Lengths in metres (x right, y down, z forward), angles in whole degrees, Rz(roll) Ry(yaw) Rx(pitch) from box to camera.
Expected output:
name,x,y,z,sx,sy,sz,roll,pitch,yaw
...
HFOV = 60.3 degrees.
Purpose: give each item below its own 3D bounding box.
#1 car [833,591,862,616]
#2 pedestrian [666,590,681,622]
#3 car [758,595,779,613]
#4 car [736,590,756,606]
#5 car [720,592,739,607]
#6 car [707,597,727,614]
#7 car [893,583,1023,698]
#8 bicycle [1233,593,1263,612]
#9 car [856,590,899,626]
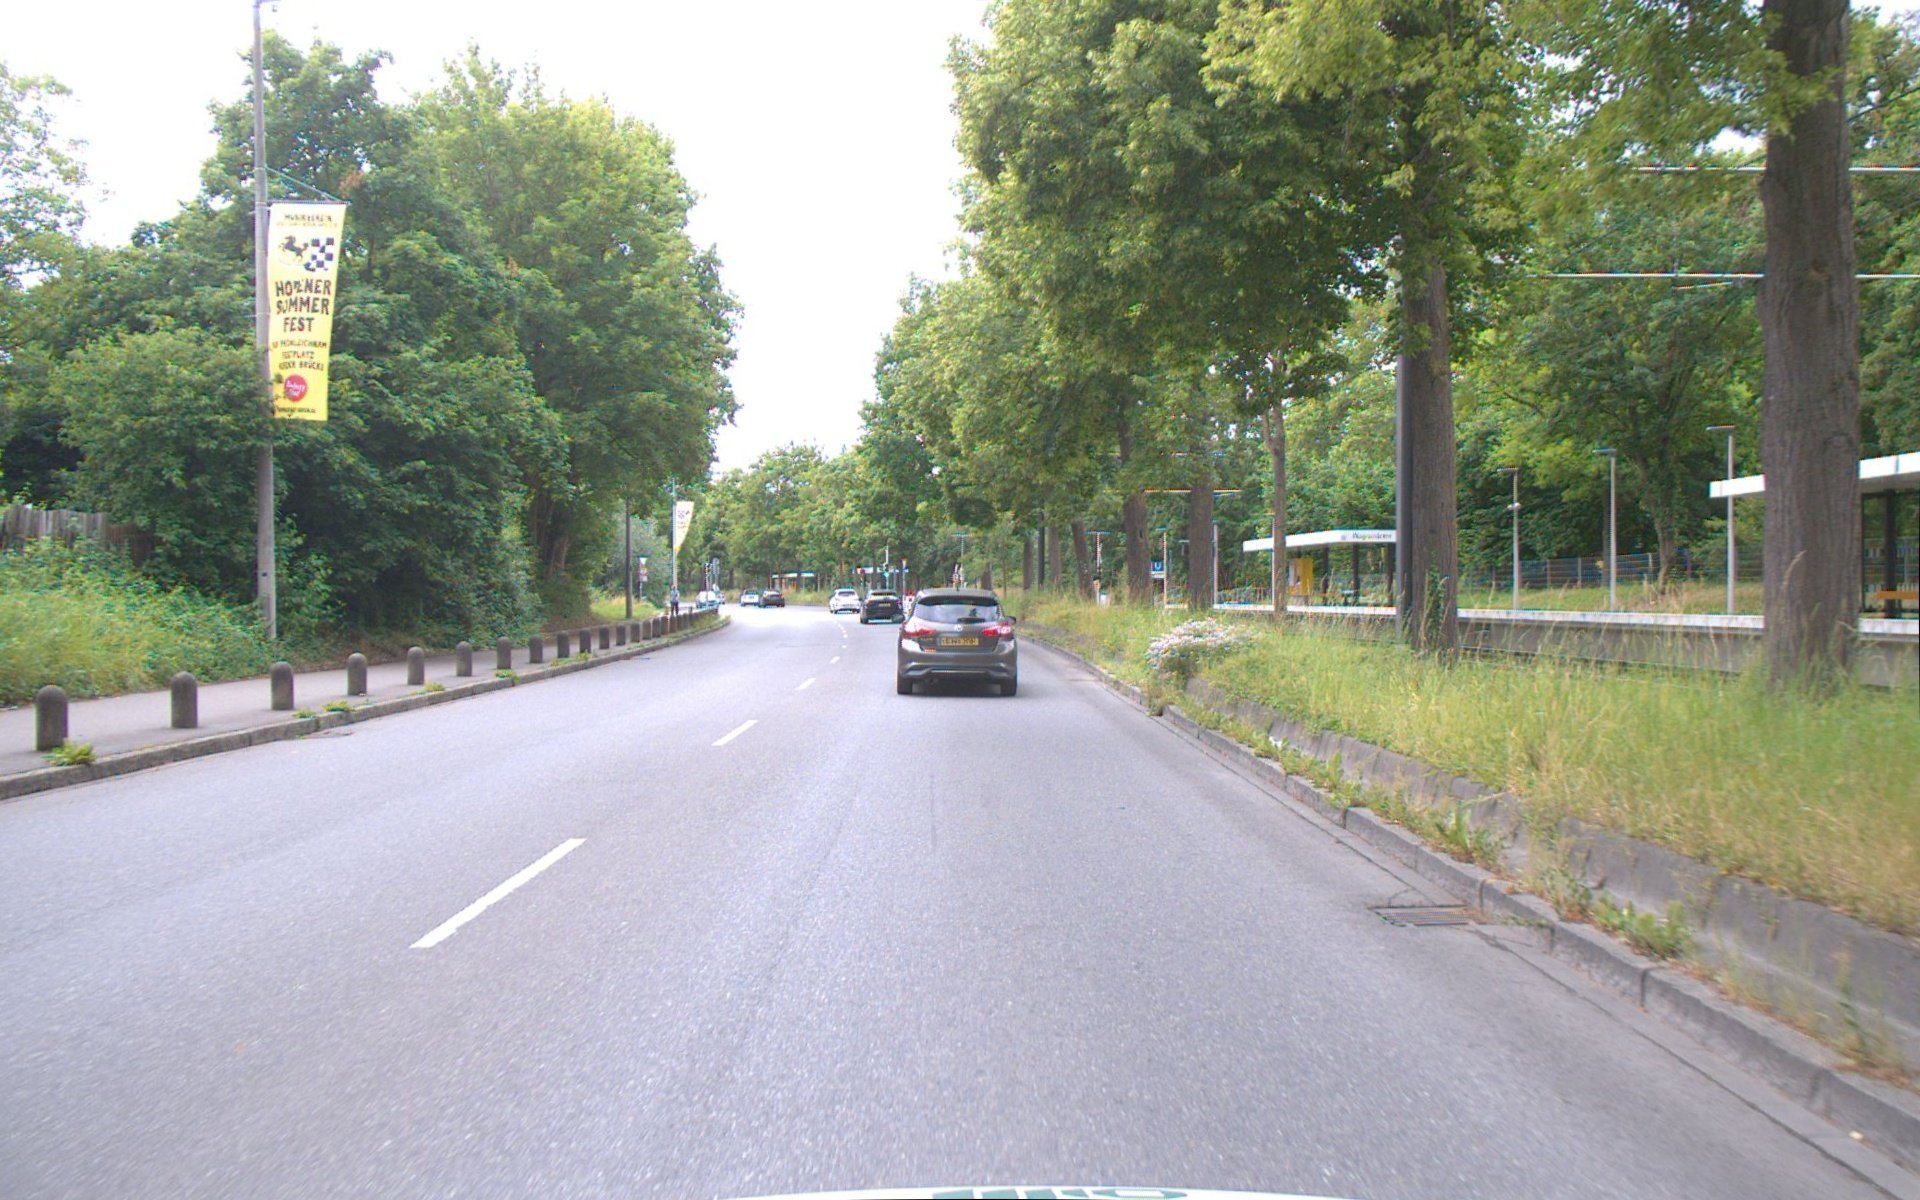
name,x,y,z,sx,sy,sz,roll,pitch,yaw
car,-6.998,0.223,103.101,1.741,1.498,3.997,1,0,-4
pedestrian,-15.115,0.304,87.368,0.676,1.663,0.837,1,0,-6
car,-16.214,0.330,140.198,1.742,1.498,3.994,0,0,-7
car,-20.175,-0.183,156.013,1.742,1.498,3.994,0,0,-7
car,-24.907,-0.068,178.671,1.741,1.498,3.996,1,0,-5
car,-22.481,0.515,153.153,1.740,1.464,4.354,-2,0,-7
car,-0.105,0.547,25.268,1.780,1.534,3.998,-1,1,-3
bicycle,14.890,0.128,85.587,1.480,0.990,0.449,1,0,-9
car,-3.539,0.332,71.492,1.740,1.498,3.999,1,0,-2
